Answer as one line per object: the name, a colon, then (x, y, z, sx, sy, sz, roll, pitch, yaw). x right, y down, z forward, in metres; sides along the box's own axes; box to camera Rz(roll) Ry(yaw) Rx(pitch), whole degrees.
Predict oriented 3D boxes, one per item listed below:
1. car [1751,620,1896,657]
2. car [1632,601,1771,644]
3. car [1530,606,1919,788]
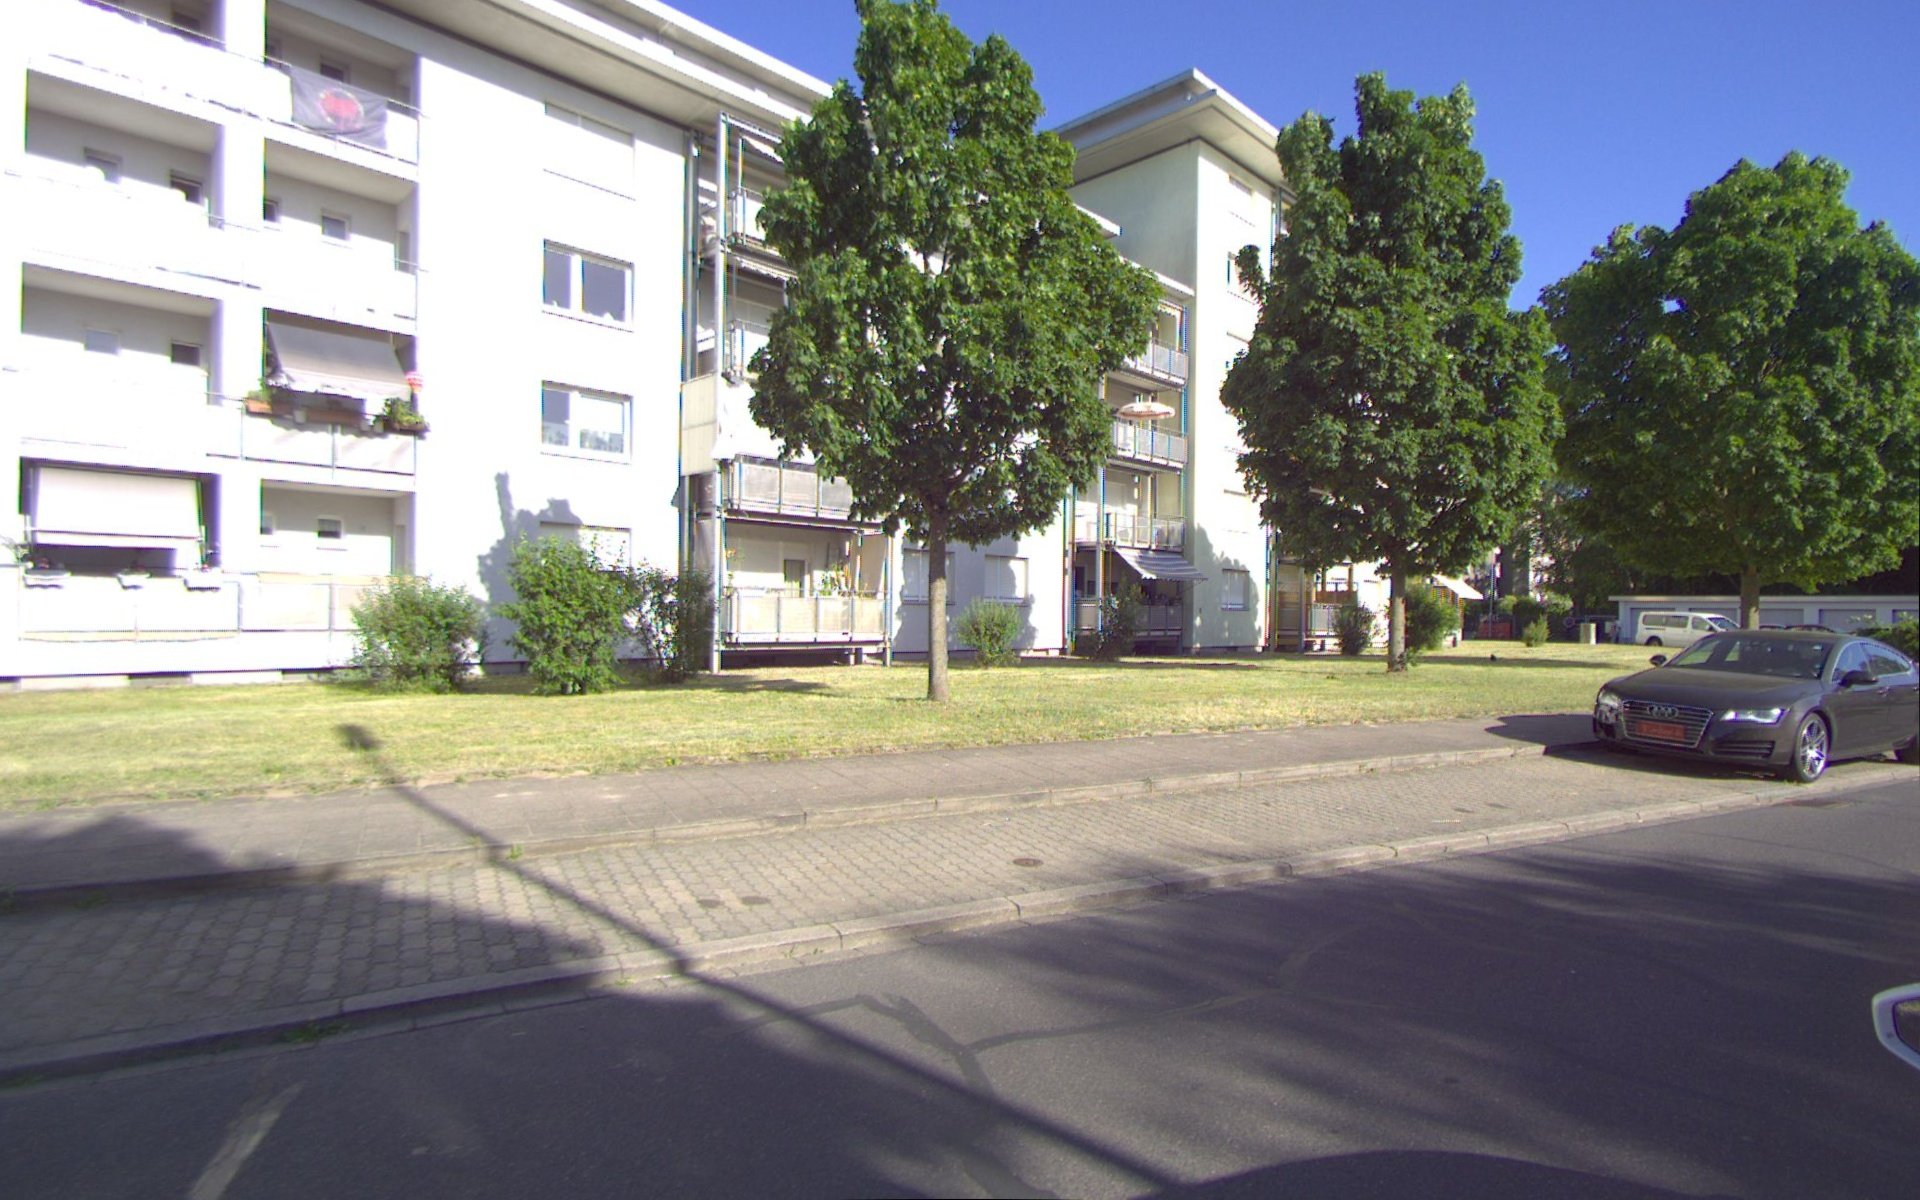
car: (37.739, 1.643, 44.039, 2.013, 1.480, 4.435, 1, -1, -21)
car: (35.932, 1.084, 48.866, 2.203, 1.977, 5.098, 1, -1, -20)
car: (8.788, 0.892, 10.984, 5.192, 1.513, 2.025, 1, 2, -29)
